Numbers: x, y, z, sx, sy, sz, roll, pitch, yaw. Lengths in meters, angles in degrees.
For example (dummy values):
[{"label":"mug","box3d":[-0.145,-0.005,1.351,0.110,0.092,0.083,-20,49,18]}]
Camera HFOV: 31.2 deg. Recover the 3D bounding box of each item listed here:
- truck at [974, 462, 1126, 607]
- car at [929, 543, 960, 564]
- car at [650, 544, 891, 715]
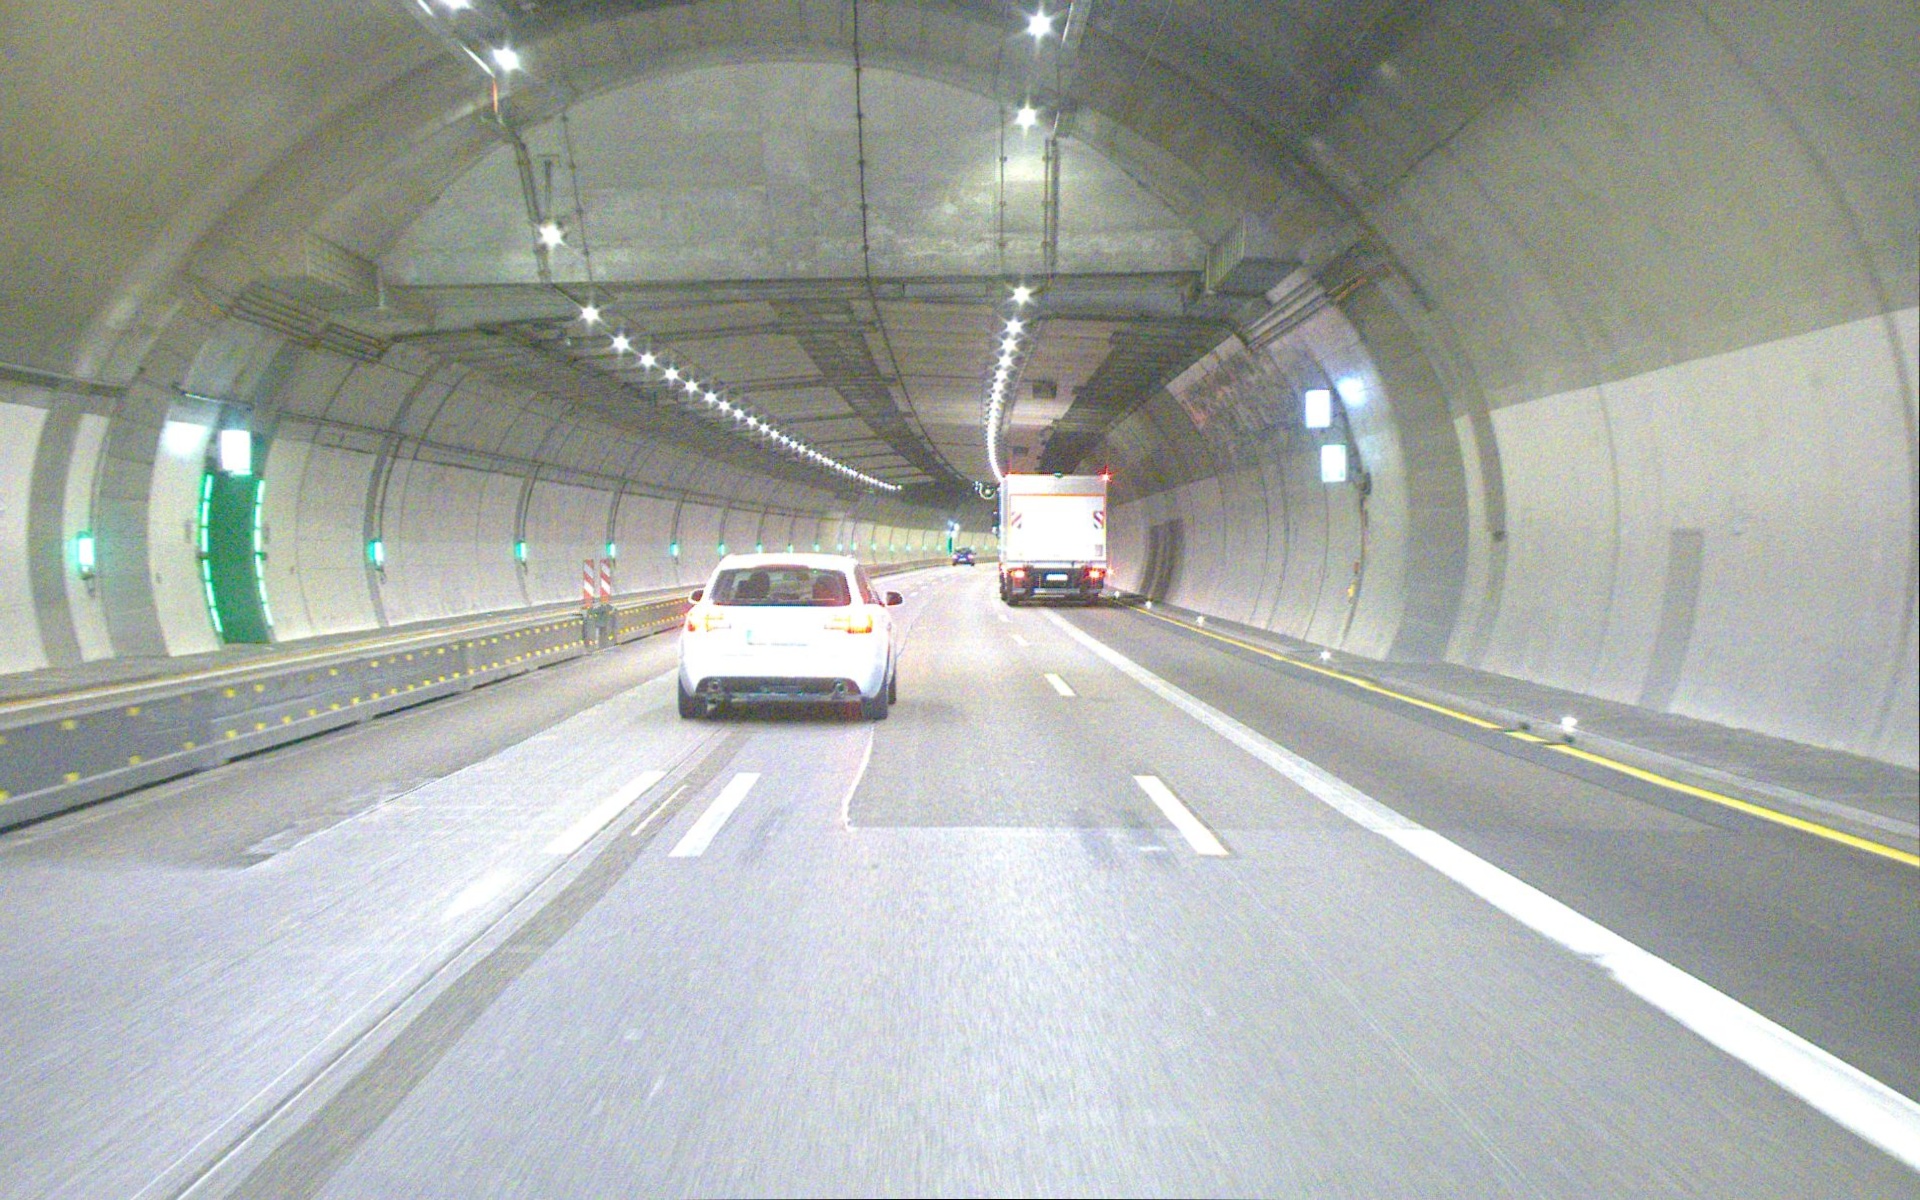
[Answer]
[{"label":"truck","box3d":[2.309,-1.746,92.463,3.592,3.638,10.723,1,1,-1]},{"label":"car","box3d":[-1.124,-3.454,254.170,1.994,1.514,3.999,1,0,4]},{"label":"car","box3d":[-1.647,0.212,31.353,1.993,1.408,4.743,1,1,-1]}]
